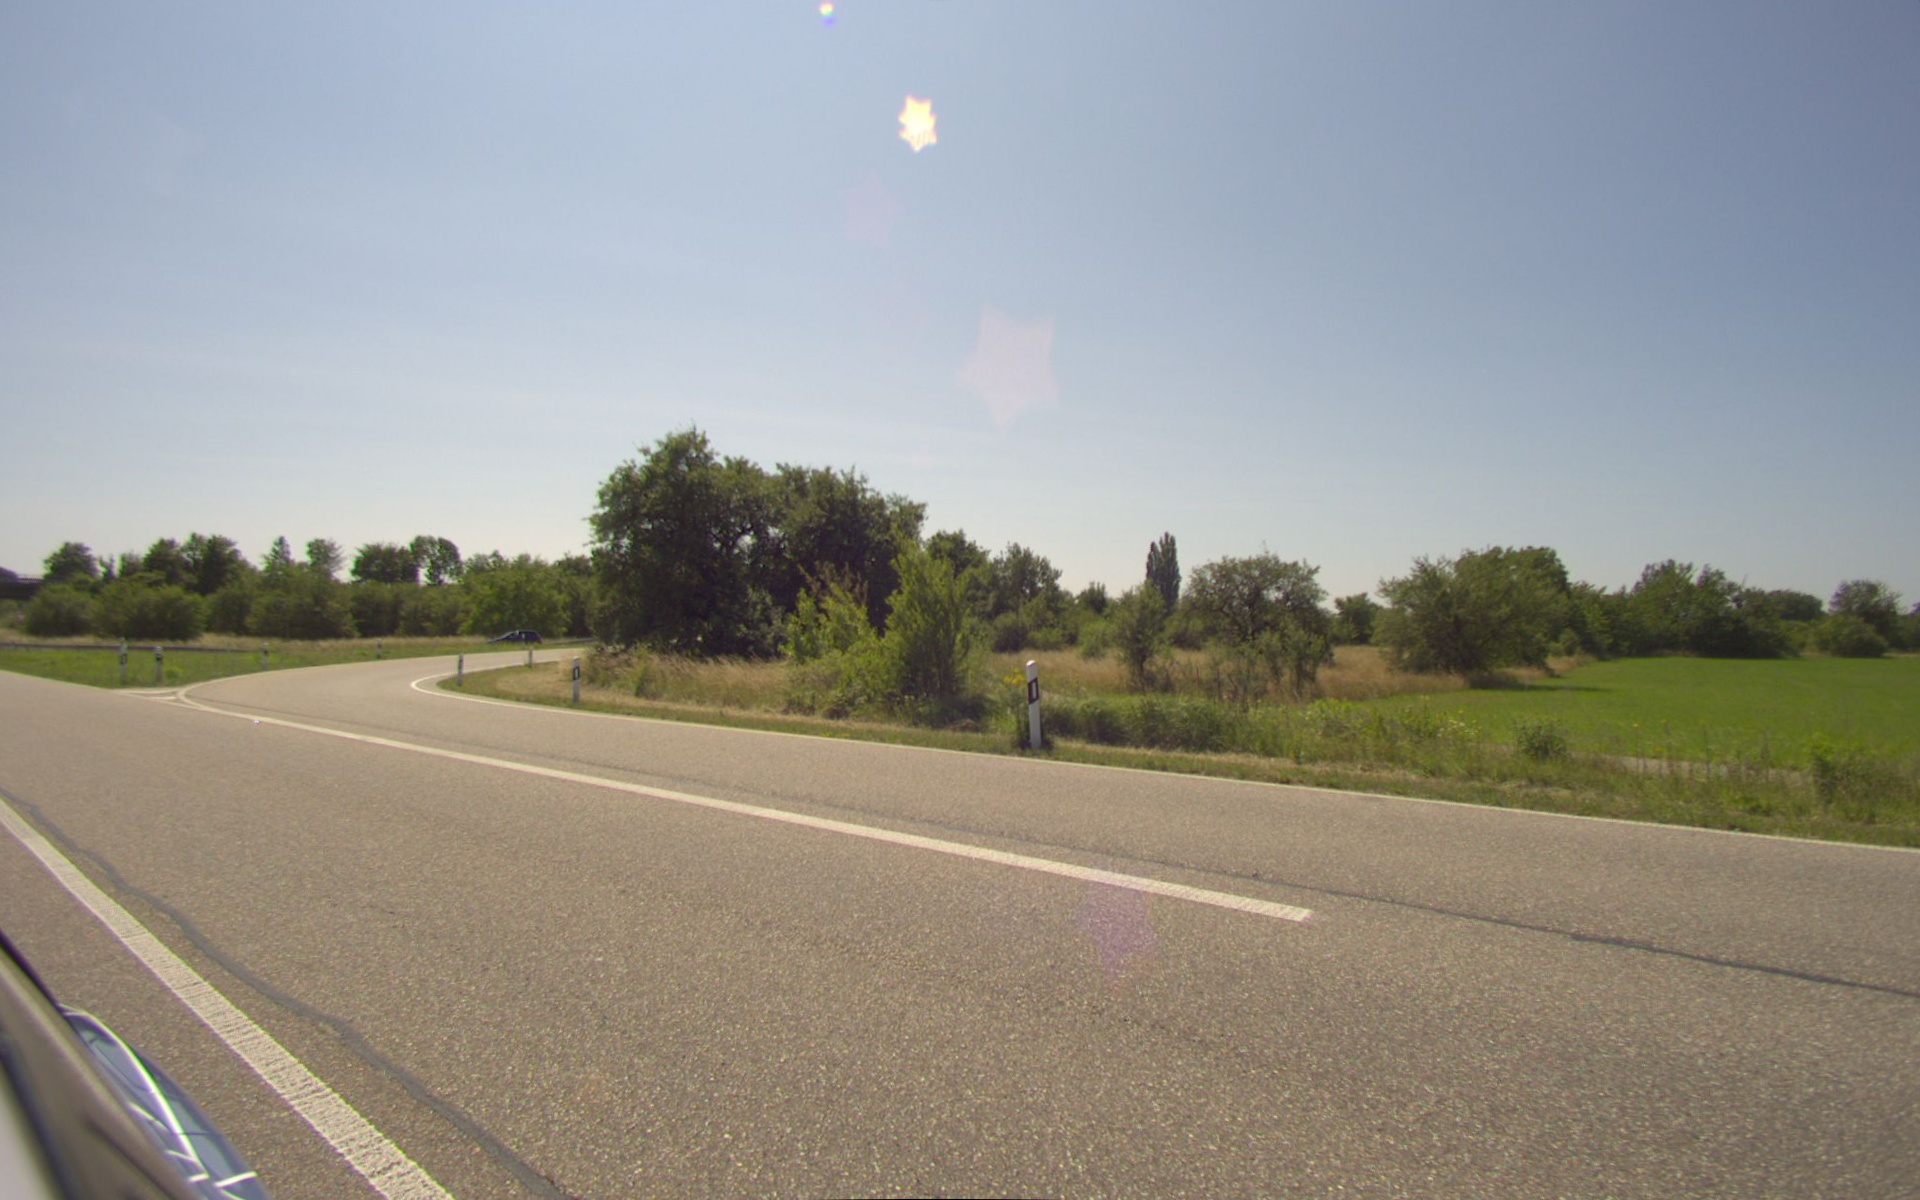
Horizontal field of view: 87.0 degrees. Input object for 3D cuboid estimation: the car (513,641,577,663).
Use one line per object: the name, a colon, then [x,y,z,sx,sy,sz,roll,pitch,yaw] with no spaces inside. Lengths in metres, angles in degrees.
car: [-31.536,3.937,76.928,1.889,1.569,4.089,-1,-3,44]
